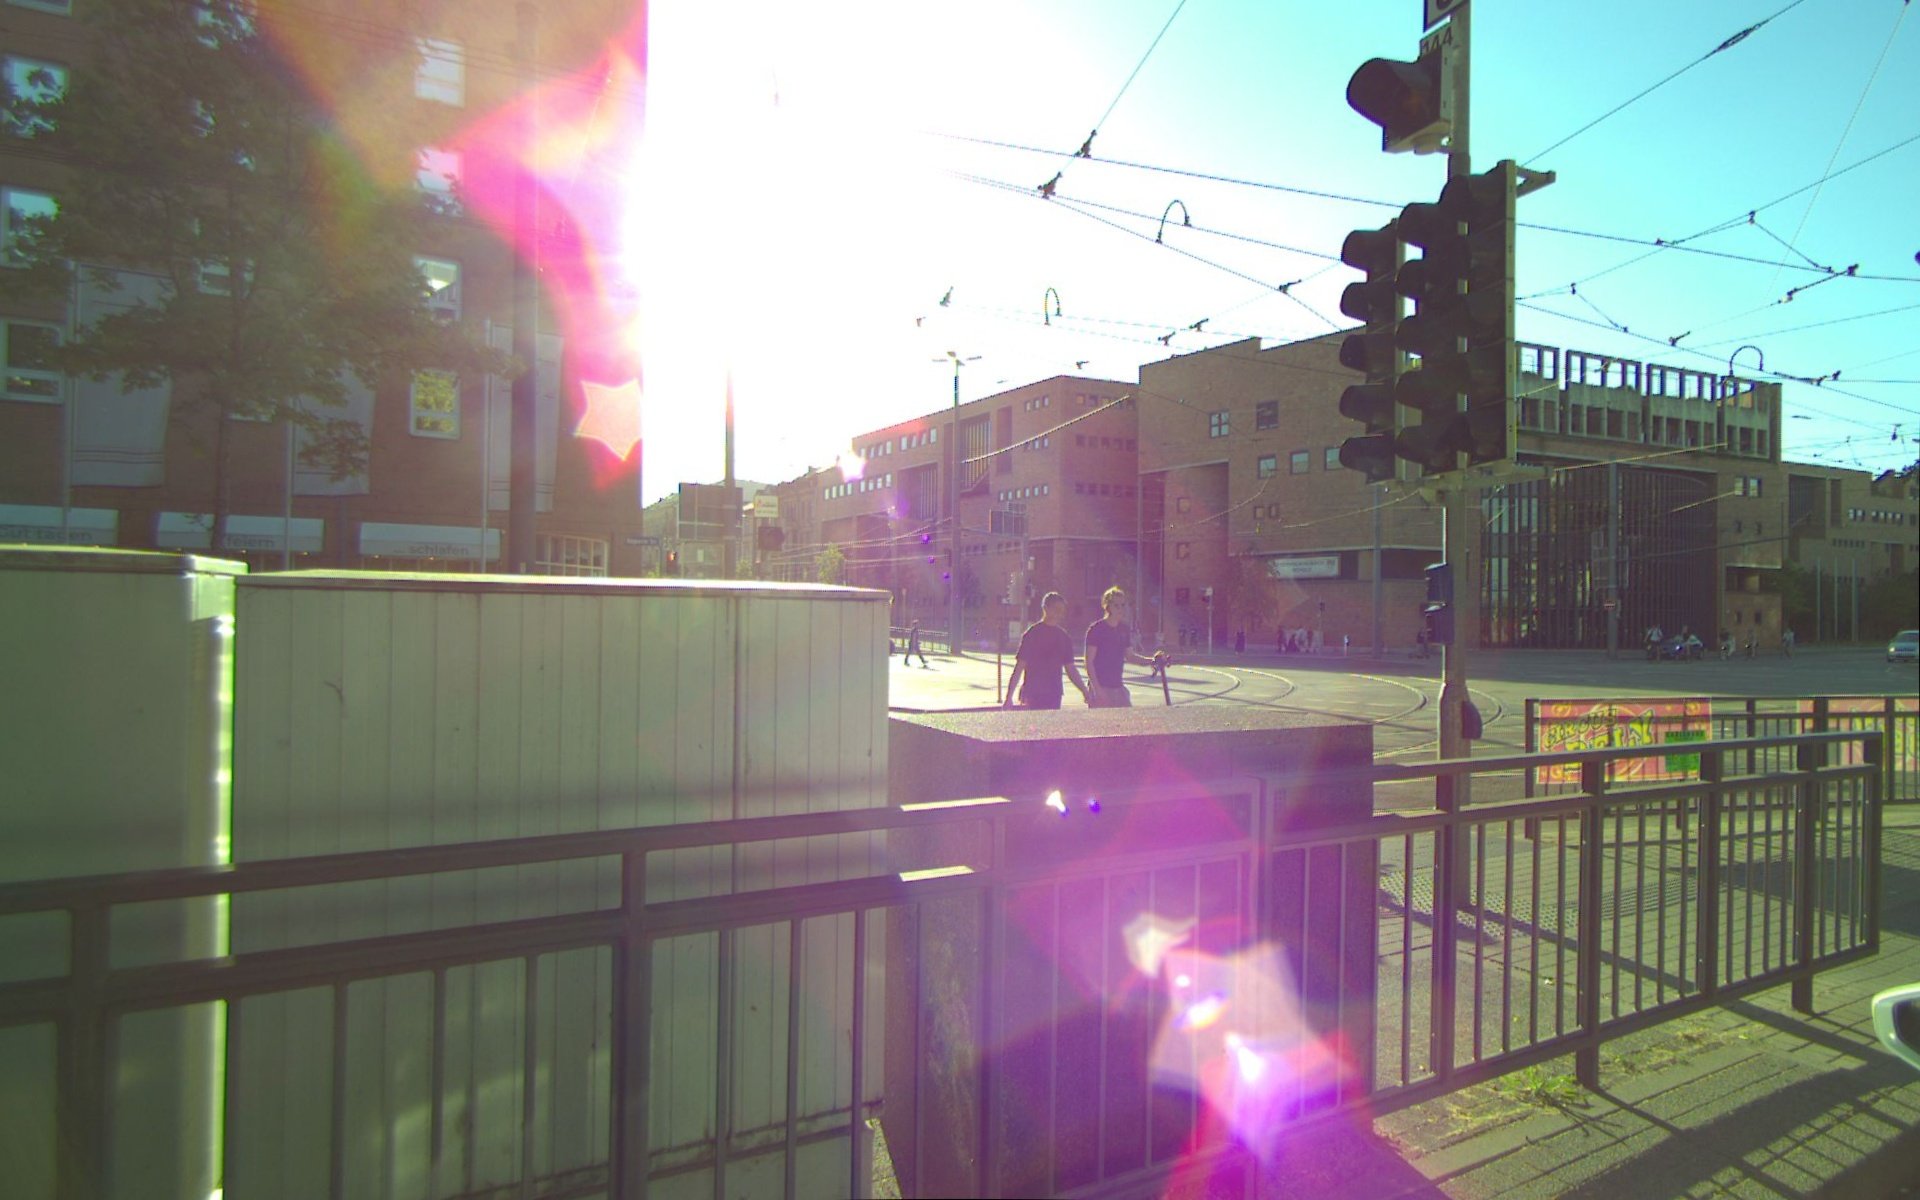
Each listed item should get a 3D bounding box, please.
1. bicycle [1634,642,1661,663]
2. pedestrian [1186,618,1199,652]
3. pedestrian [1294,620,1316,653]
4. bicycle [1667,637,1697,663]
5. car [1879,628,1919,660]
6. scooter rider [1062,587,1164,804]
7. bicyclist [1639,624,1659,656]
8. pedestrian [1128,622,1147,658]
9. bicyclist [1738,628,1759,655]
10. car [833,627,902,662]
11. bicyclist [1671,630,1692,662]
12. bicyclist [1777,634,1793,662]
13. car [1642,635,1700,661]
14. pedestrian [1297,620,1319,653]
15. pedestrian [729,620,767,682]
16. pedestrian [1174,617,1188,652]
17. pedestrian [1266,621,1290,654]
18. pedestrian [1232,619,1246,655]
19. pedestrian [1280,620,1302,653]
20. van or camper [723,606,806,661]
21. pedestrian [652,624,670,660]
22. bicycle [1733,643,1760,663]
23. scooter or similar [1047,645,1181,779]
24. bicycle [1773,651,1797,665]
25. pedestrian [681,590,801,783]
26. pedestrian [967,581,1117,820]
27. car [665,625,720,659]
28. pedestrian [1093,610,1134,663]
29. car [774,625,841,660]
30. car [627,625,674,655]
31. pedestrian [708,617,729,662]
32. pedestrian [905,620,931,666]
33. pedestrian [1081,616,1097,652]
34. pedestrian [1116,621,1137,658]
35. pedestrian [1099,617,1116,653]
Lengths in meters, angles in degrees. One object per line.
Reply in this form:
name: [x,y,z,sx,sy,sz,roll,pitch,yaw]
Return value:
bicycle: [34.473,2.617,50.368,1.886,1.011,0.647,2,-2,-40]
pedestrian: [13.871,2.083,59.918,0.603,2.040,0.731,0,-1,30]
pedestrian: [22.189,2.327,64.617,0.841,2.079,1.001,1,-1,-32]
bicycle: [35.890,2.474,49.942,2.092,1.157,0.680,-1,0,-39]
car: [48.916,2.233,51.745,3.962,1.598,1.610,1,-2,-36]
scooter rider: [1.378,0.844,9.096,0.670,1.877,0.564,3,-2,-25]
bicyclist: [34.623,2.025,50.484,0.752,1.595,0.655,1,-2,-40]
pedestrian: [9.954,2.219,56.355,0.742,2.010,0.780,1,-1,-32]
bicyclist: [44.181,2.302,56.282,1.022,1.494,0.649,2,-1,-35]
car: [-4.816,2.241,51.807,1.978,1.709,3.965,1,-2,-33]
bicyclist: [35.843,2.288,49.894,0.752,1.581,0.676,1,-2,-39]
bicyclist: [48.680,2.843,59.272,0.509,1.647,0.583,1,-1,-34]
car: [40.274,2.710,56.906,3.679,1.394,1.571,1,-2,-35]
pedestrian: [21.940,2.311,63.276,0.841,2.079,1.001,1,-1,-32]
pedestrian: [-6.214,1.490,29.460,0.860,1.775,0.670,1,-2,-39]
pedestrian: [13.275,2.076,60.401,0.603,2.040,0.731,0,-1,30]
pedestrian: [20.028,2.369,63.285,0.902,2.040,1.151,1,-1,-34]
pedestrian: [15.961,2.134,57.460,0.603,2.040,0.731,0,-1,30]
pedestrian: [21.104,2.299,64.072,0.841,2.079,1.001,1,-1,-32]
van or camper: [-9.407,1.571,47.942,1.981,2.451,4.980,1,-2,-36]
pedestrian: [-15.639,2.199,52.504,0.597,1.843,0.848,1,-1,-38]
bicycle: [43.931,2.950,56.085,1.993,1.064,0.647,2,-1,-35]
scooter or similar: [1.368,0.970,9.091,0.639,1.095,1.199,1,-1,-25]
bicycle: [48.739,3.405,59.304,1.948,0.781,0.586,1,-2,-35]
pedestrian: [-2.219,0.825,10.107,0.945,1.822,0.987,2,0,-25]
pedestrian: [0.690,0.823,8.743,0.843,1.908,1.164,1,-1,-25]
car: [-14.421,2.221,54.032,1.739,1.750,3.963,1,-2,-33]
pedestrian: [6.110,1.452,39.979,1.193,2.040,1.028,2,0,-30]
car: [-7.806,2.147,51.182,1.978,1.709,3.965,1,-2,-33]
car: [-18.610,2.378,60.281,1.738,1.750,3.965,1,-2,-32]
pedestrian: [-10.999,1.788,45.729,0.597,2.040,0.848,1,-1,-38]
pedestrian: [-1.703,1.720,40.355,0.797,1.801,0.623,2,0,-30]
pedestrian: [7.374,1.953,57.545,0.607,2.040,0.727,1,-1,-32]
pedestrian: [9.263,2.196,55.871,0.917,2.010,0.780,1,-1,-32]
pedestrian: [8.438,1.979,57.400,0.644,2.040,0.780,1,-1,-32]
